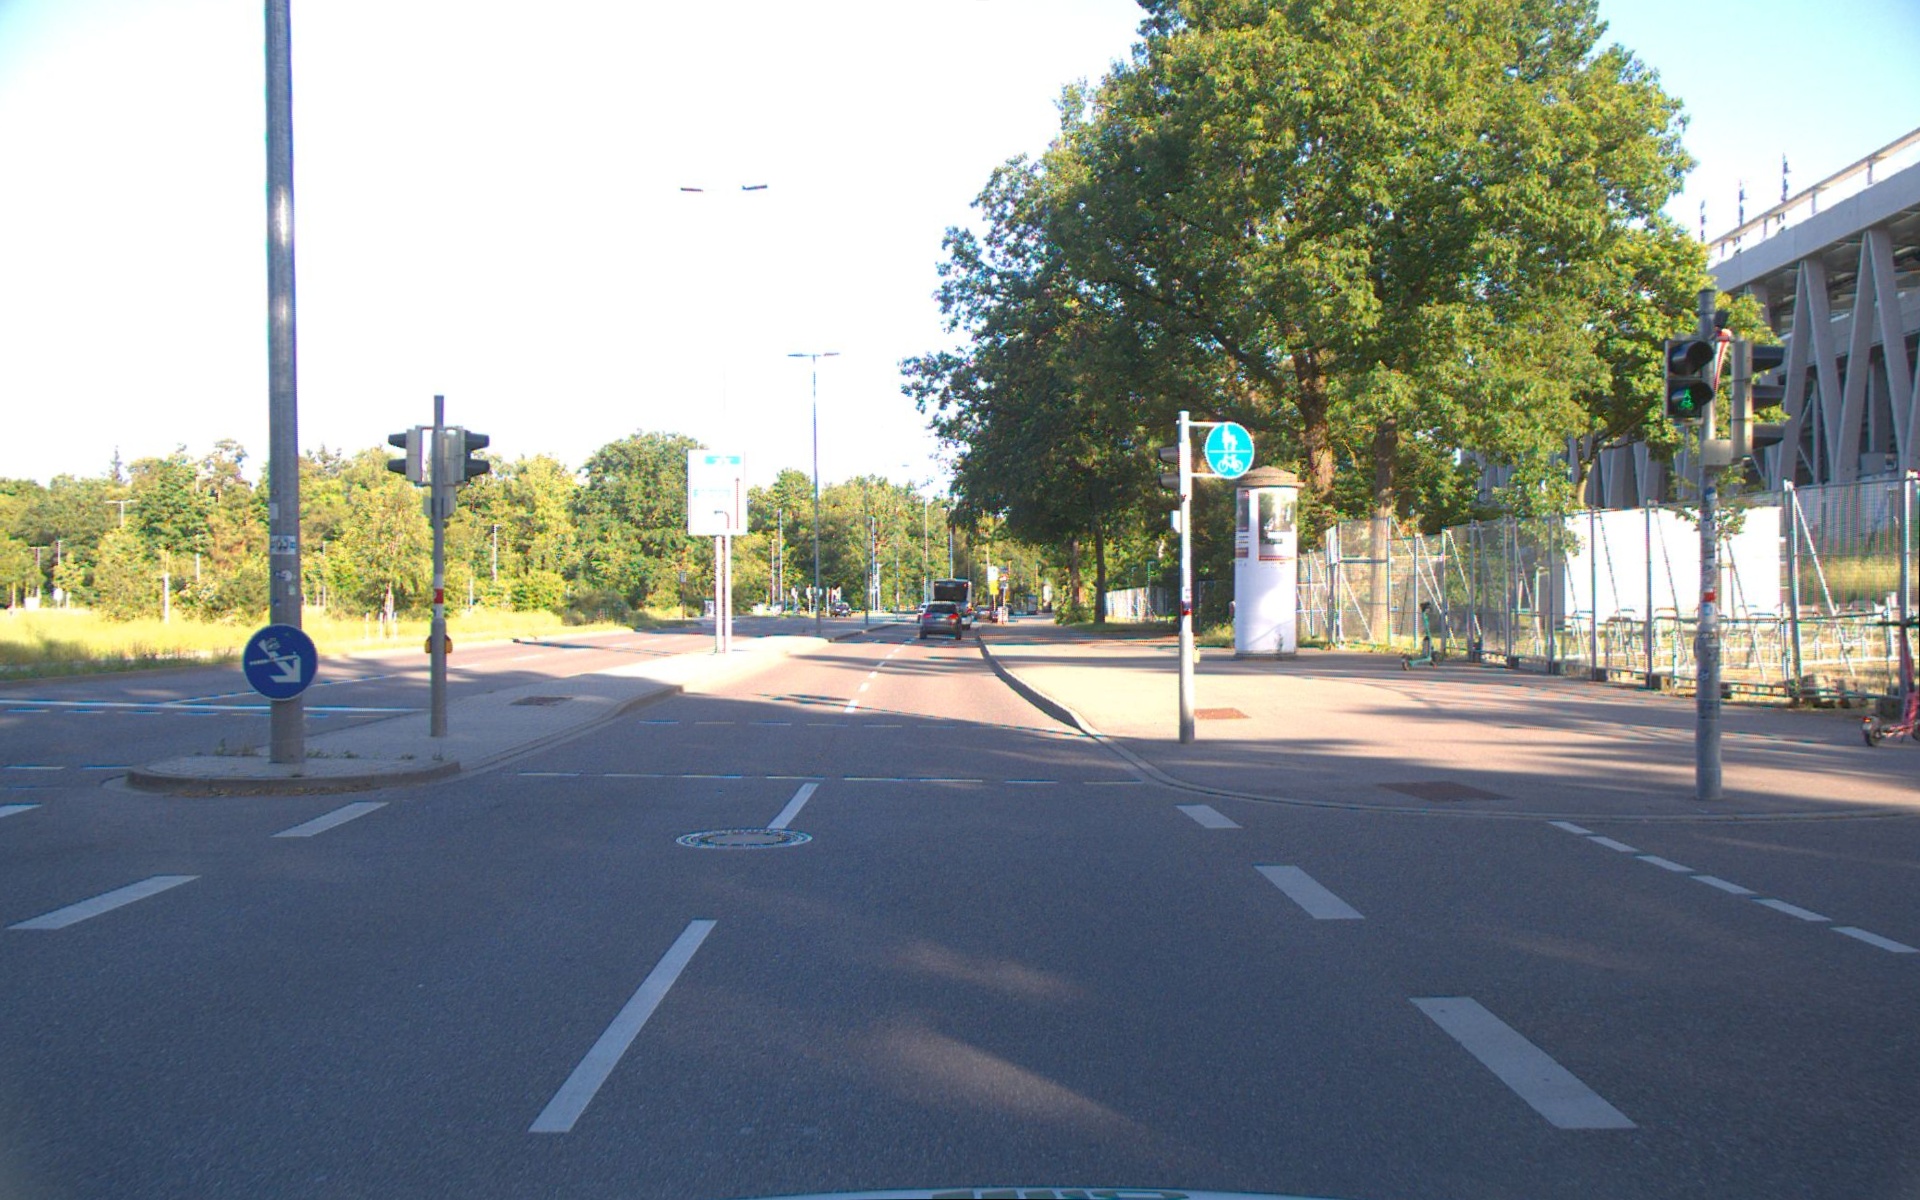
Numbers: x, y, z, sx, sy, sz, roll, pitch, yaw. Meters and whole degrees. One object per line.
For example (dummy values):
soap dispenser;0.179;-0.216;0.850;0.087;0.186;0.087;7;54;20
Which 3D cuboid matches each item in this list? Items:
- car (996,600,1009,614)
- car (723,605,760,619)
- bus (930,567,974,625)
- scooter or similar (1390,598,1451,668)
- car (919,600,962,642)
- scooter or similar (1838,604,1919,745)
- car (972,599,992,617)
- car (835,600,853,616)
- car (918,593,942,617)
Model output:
car;5.470;0.912;213.460;1.560;1.634;3.583;2;-1;0
car;-23.876;1.302;181.108;3.631;1.378;1.718;-1;0;-33
bus;-0.546;-0.249;101.904;2.552;3.427;7.973;1;0;-2
scooter or similar;8.680;0.611;31.146;0.558;1.278;1.593;-1;-1;37
car;-0.905;0.909;73.913;1.842;1.796;3.999;0;0;-1
scooter or similar;9.119;0.702;16.152;1.351;1.311;0.594;0;0;-44
car;2.142;0.771;160.562;1.824;1.713;3.774;-1;0;3
car;-12.741;0.905;181.714;1.825;1.713;3.771;-1;0;-2
car;-2.366;0.371;129.003;1.842;1.796;3.999;0;0;-1
